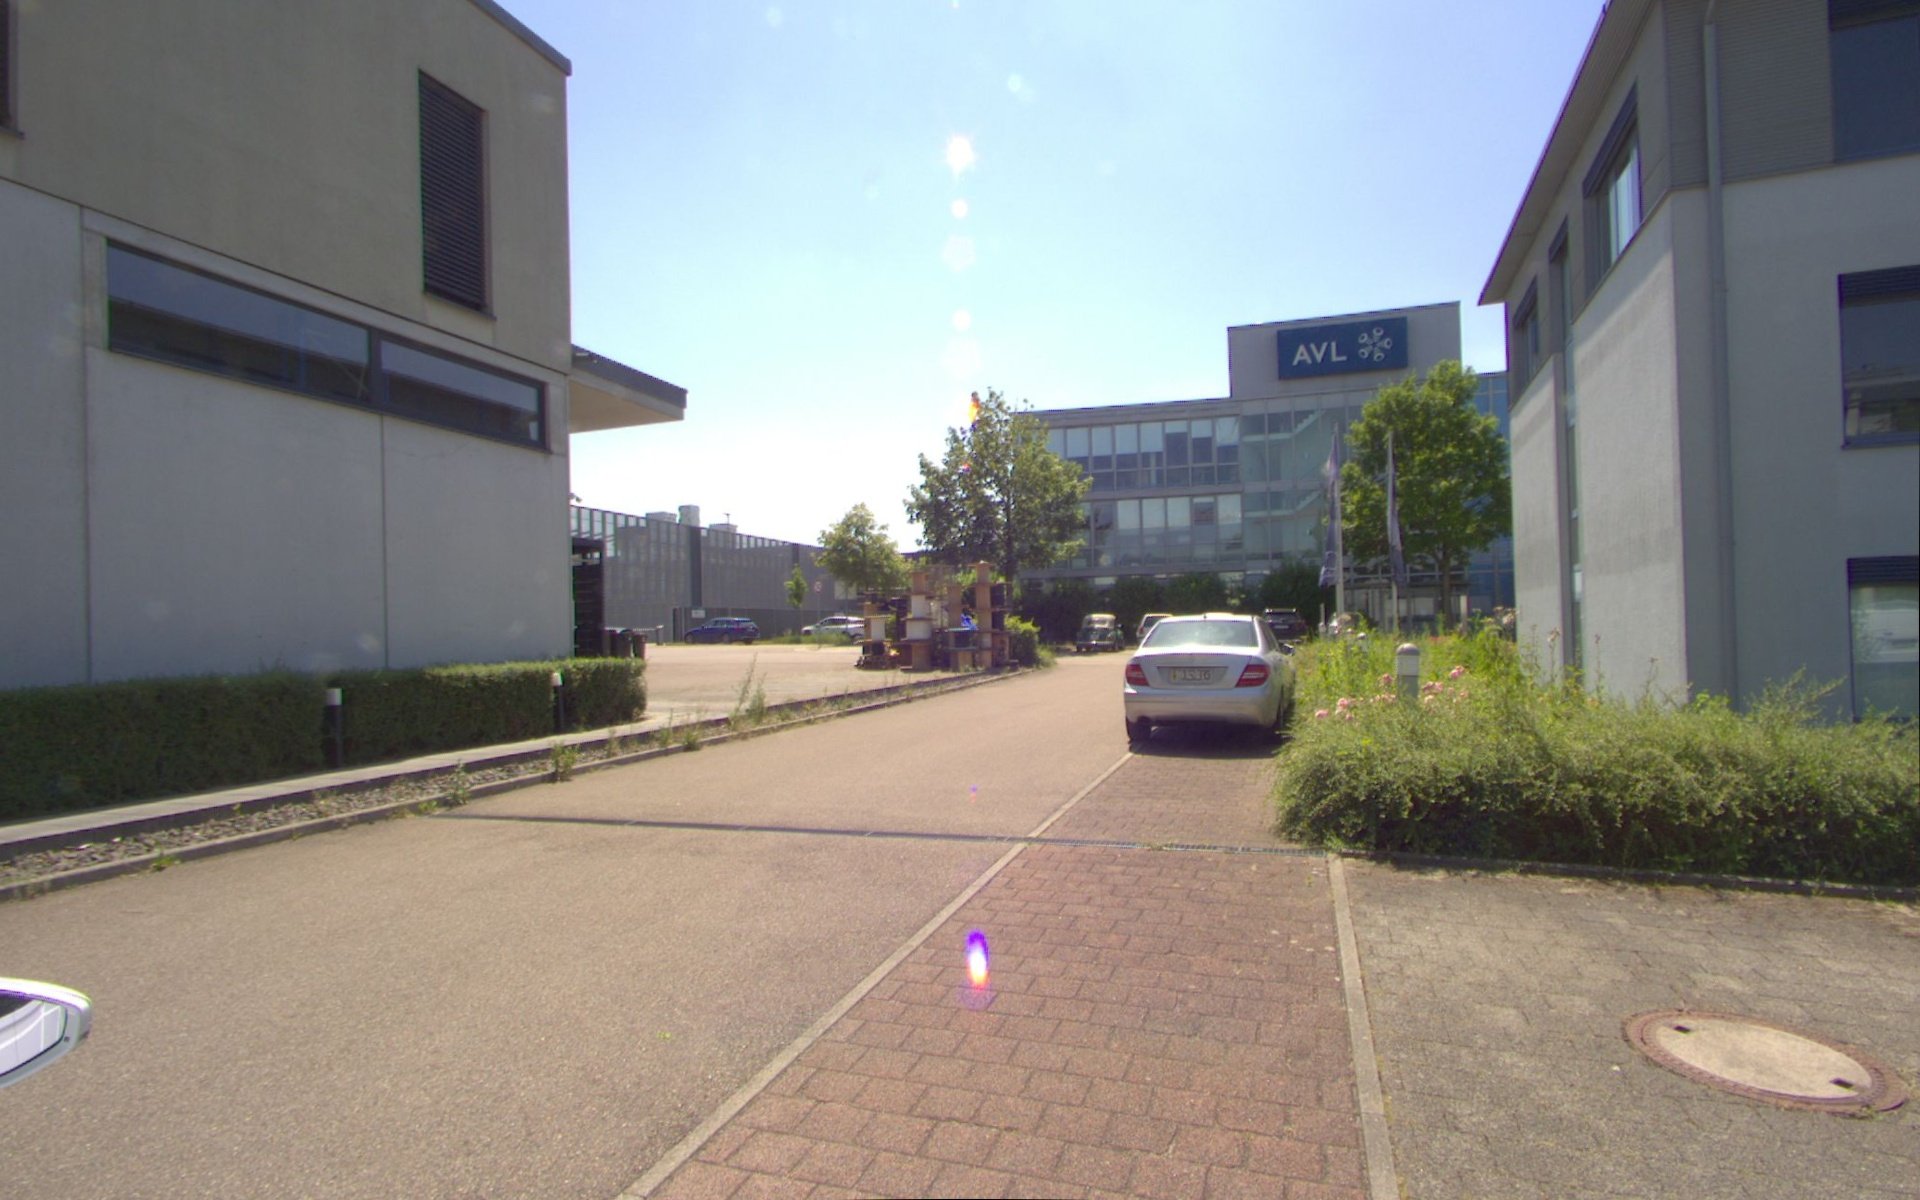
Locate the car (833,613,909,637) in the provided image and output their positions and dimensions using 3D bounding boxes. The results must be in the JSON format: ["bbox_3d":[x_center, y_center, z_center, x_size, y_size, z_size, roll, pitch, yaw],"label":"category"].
[{"bbox_3d":[-5.854,1.632,65.717,4.786,1.511,1.989,-1,0,33],"label":"car"}]

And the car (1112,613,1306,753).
[{"bbox_3d":[3.275,0.906,12.495,1.774,1.416,4.410,-1,-2,22],"label":"car"}]

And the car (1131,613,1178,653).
[{"bbox_3d":[7.661,1.256,39.207,1.705,1.468,3.651,0,0,13],"label":"car"}]

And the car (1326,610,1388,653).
[{"bbox_3d":[14.694,1.134,37.249,1.744,1.501,4.252,-1,-1,17],"label":"car"}]

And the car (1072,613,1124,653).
[{"bbox_3d":[5.510,1.261,39.662,1.518,1.468,3.649,0,0,16],"label":"car"}]

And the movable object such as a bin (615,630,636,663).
[{"bbox_3d":[-10.649,1.481,31.895,0.571,1.041,0.425,-1,-1,-15],"label":"movable object such as a bin"}]

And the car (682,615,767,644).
[{"bbox_3d":[-12.938,1.580,54.937,4.451,1.511,1.989,-1,0,33],"label":"car"}]

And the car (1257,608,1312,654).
[{"bbox_3d":[12.260,1.134,37.975,1.898,1.632,3.980,0,0,17],"label":"car"}]

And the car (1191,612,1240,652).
[{"bbox_3d":[9.985,1.226,39.339,1.738,1.468,3.651,0,0,13],"label":"car"}]

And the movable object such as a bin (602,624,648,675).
[{"bbox_3d":[-9.100,1.336,27.191,0.800,1.362,0.882,-1,-1,24],"label":"movable object such as a bin"}]

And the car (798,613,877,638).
[{"bbox_3d":[-7.785,1.614,63.345,4.786,1.511,1.989,-1,0,33],"label":"car"}]

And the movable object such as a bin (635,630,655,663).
[{"bbox_3d":[-10.080,1.481,32.039,0.568,1.050,0.425,-1,-1,-15],"label":"movable object such as a bin"}]
